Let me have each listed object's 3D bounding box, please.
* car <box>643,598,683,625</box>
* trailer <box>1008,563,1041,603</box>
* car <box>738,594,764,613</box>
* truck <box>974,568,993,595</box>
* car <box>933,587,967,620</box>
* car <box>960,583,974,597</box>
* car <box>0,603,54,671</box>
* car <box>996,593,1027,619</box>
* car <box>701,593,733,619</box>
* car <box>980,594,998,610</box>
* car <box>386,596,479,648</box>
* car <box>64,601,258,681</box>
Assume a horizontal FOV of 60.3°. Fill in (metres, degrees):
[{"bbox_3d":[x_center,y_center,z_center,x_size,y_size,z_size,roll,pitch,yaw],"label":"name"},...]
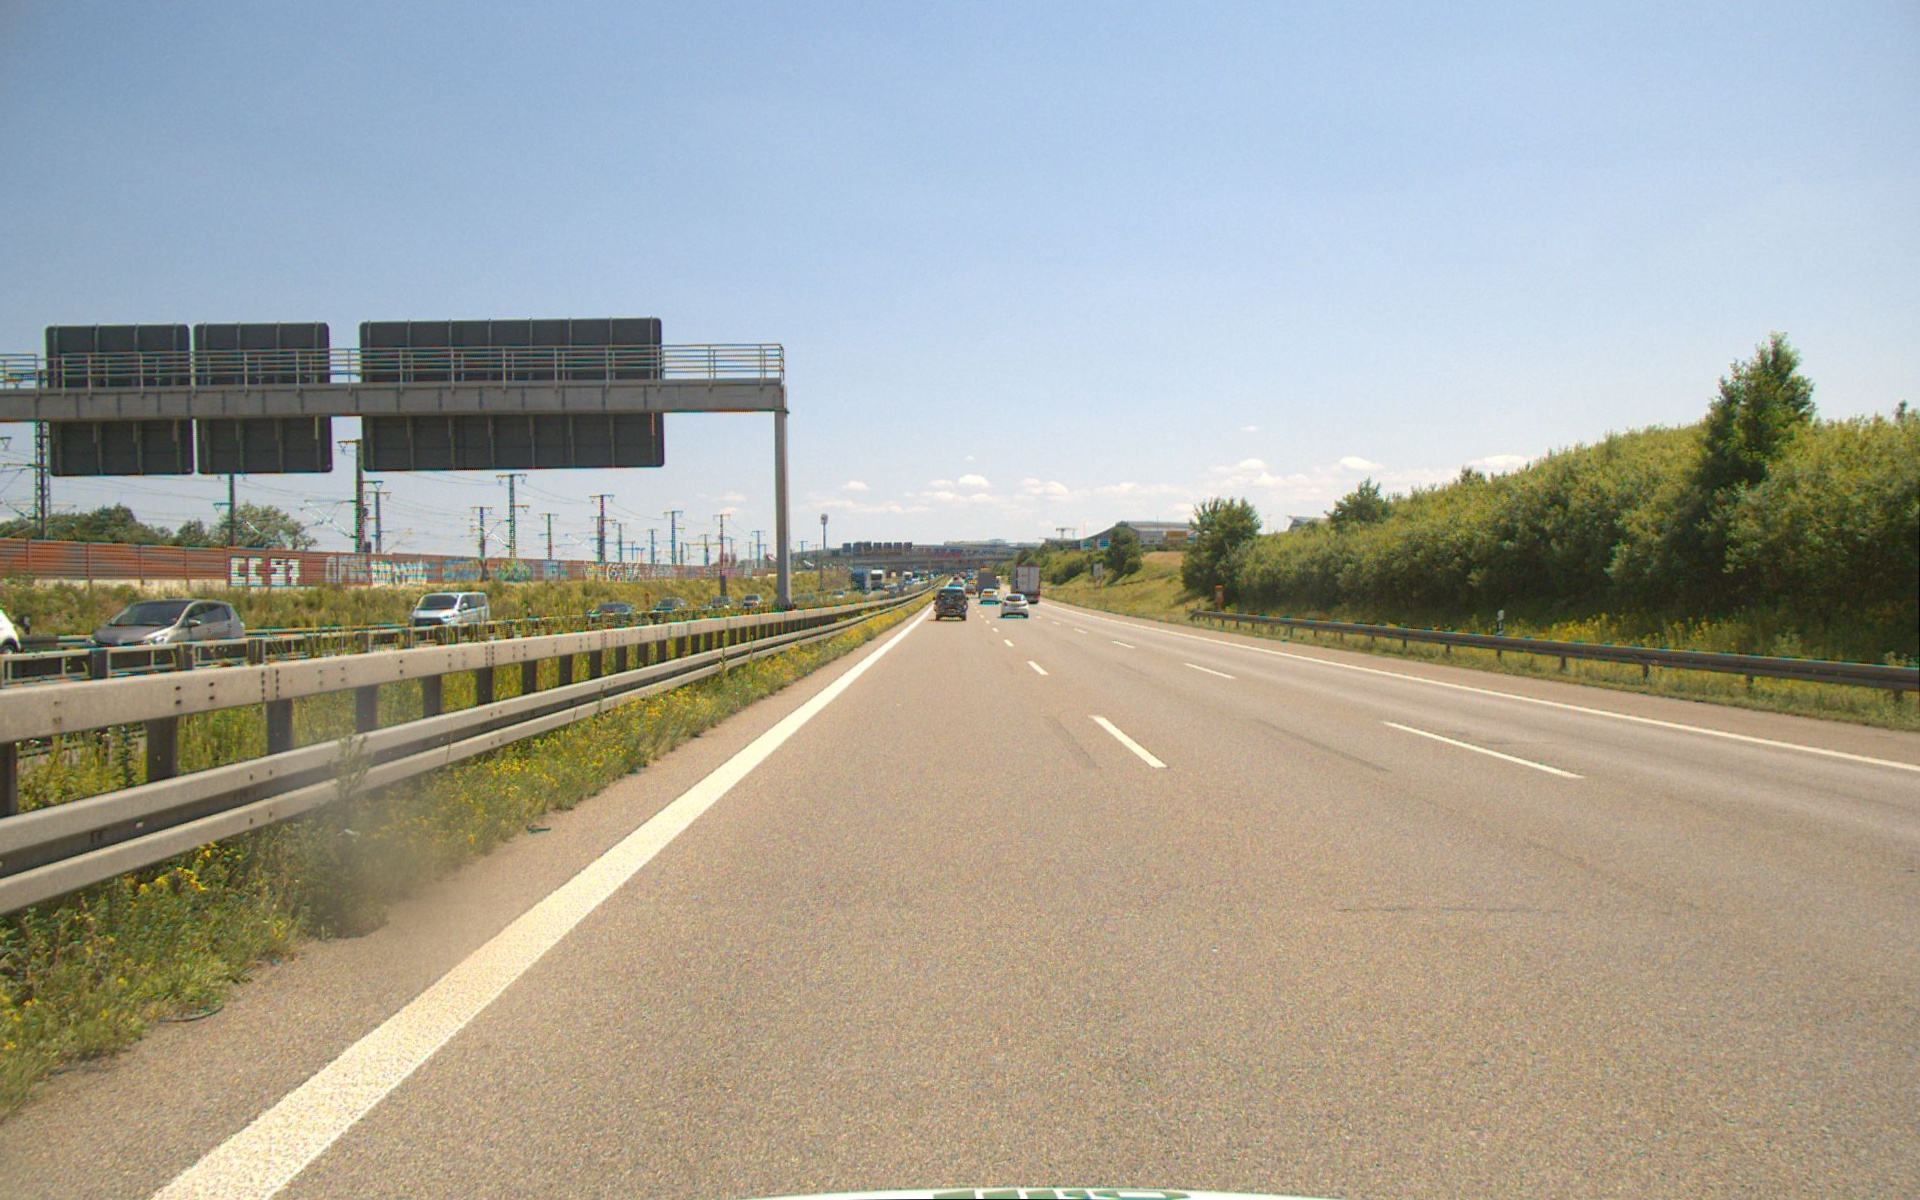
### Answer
[{"bbox_3d":[-20.439,0.762,113.972,1.952,1.757,4.513,0,0,0],"label":"car"},{"bbox_3d":[6.898,-1.857,178.561,3.112,4.130,9.439,-1,1,0],"label":"trailer"},{"bbox_3d":[-20.077,0.346,159.151,1.953,1.757,4.513,0,0,0],"label":"car"},{"bbox_3d":[3.012,-2.374,214.329,2.307,3.476,6.057,0,1,0],"label":"truck"},{"bbox_3d":[-0.534,0.185,92.505,1.842,1.806,4.000,-1,0,0],"label":"car"},{"bbox_3d":[1.034,-1.470,246.293,1.953,2.049,3.999,0,0,-1],"label":"car"},{"bbox_3d":[-23.434,0.867,38.746,1.953,1.604,4.476,0,0,0],"label":"car"},{"bbox_3d":[3.248,0.362,104.054,1.841,1.553,4.001,0,0,3],"label":"car"},{"bbox_3d":[-20.006,0.507,136.101,1.953,2.049,4.309,1,-1,0],"label":"car"},{"bbox_3d":[2.978,0.212,169.789,1.842,1.553,4.000,0,0,1],"label":"car"},{"bbox_3d":[-20.714,0.825,65.186,1.952,1.919,4.978,0,0,1],"label":"car"},{"bbox_3d":[-16.987,0.829,35.424,1.953,1.604,4.476,0,0,0],"label":"car"}]
